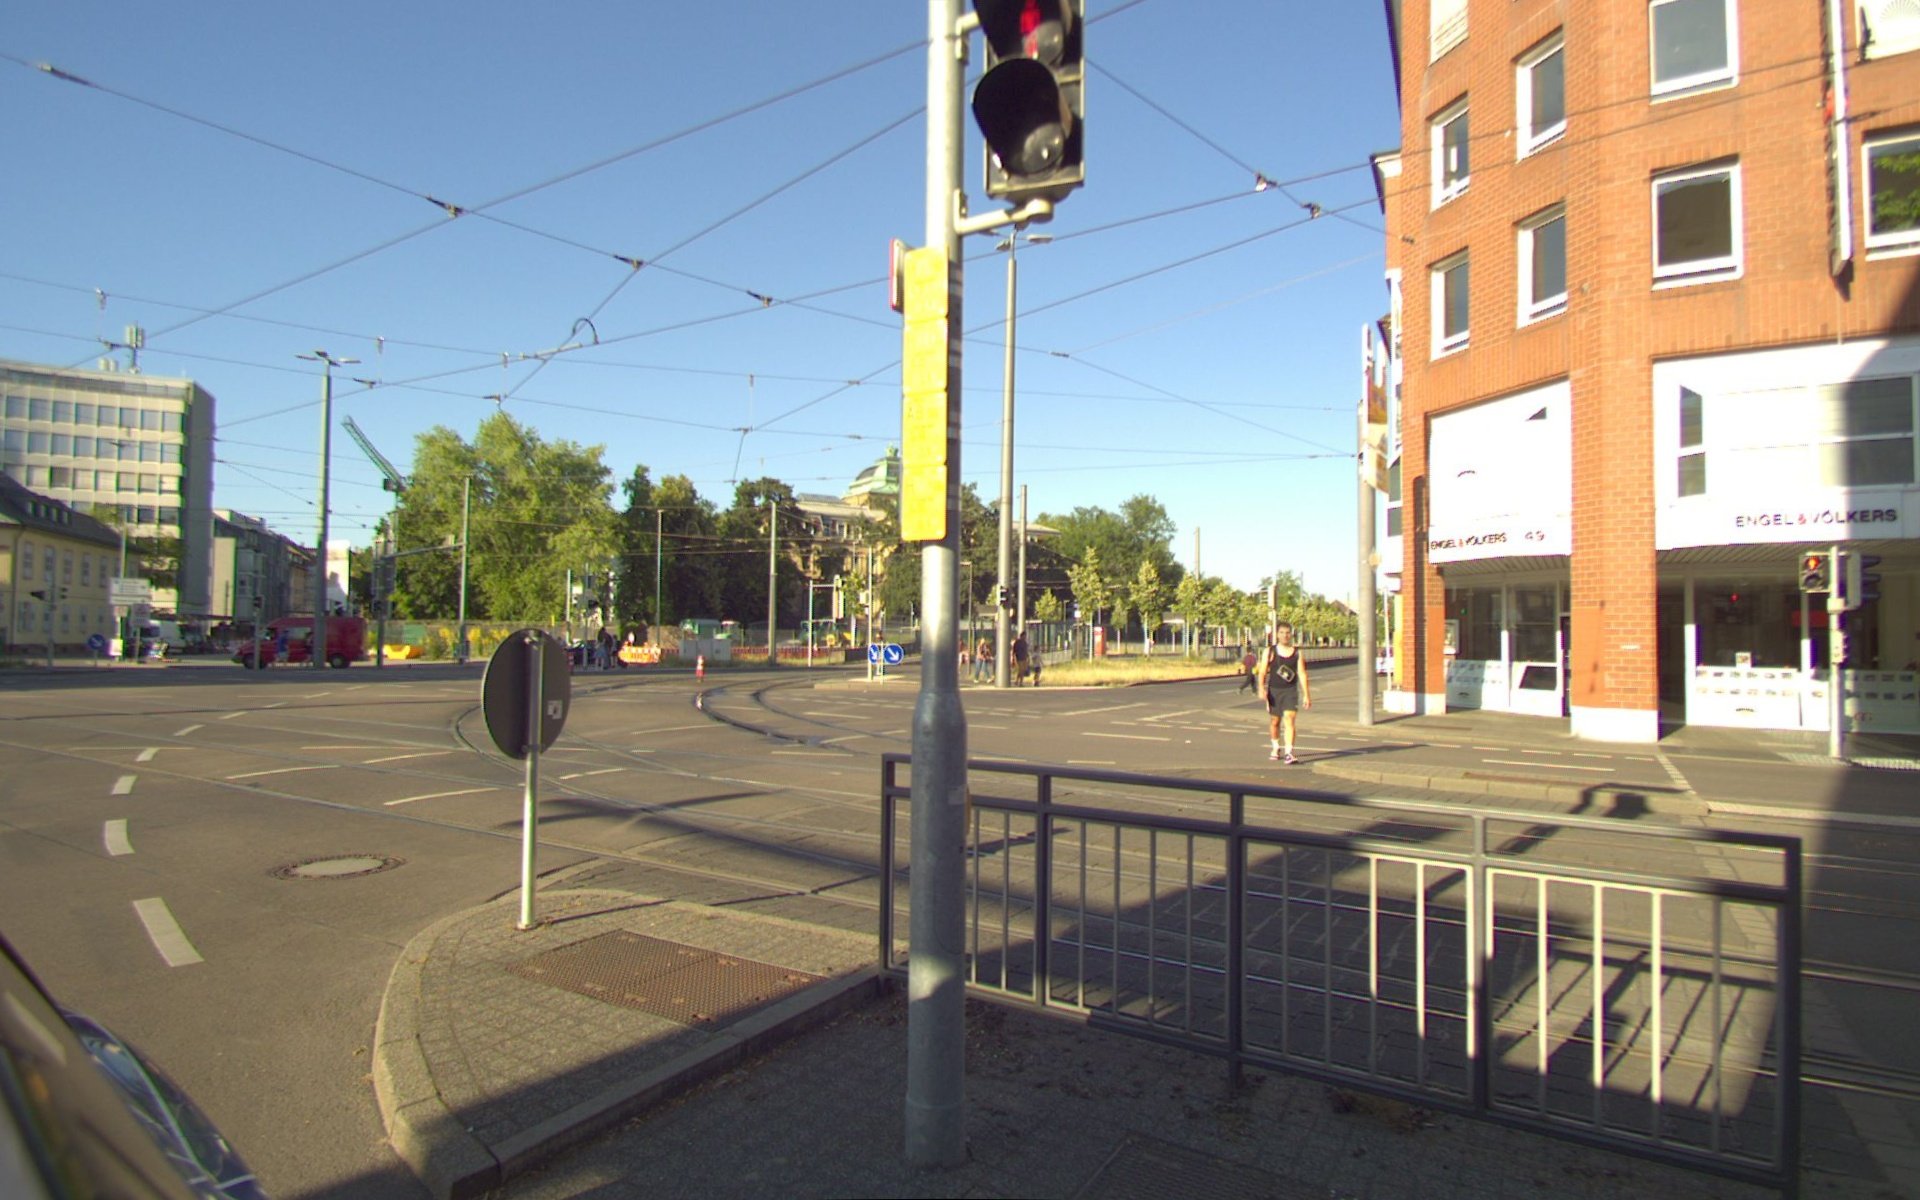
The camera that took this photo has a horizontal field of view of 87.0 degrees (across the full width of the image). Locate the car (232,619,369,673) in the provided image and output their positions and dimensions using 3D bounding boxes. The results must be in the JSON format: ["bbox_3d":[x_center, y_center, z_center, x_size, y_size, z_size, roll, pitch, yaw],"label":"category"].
[{"bbox_3d":[-32.328,2.207,49.851,5.328,2.474,2.552,0,-2,-24],"label":"car"}]

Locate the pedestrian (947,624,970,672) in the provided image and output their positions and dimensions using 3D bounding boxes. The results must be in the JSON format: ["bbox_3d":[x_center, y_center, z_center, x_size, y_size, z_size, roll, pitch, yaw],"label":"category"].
[{"bbox_3d":[-0.062,2.061,43.463,0.847,2.029,0.813,-1,0,-8],"label":"pedestrian"}]

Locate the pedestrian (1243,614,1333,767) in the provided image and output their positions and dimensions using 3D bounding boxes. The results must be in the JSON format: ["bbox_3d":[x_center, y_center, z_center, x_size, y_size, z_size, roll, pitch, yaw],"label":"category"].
[{"bbox_3d":[4.050,1.097,12.556,0.849,1.817,0.810,-1,0,4],"label":"pedestrian"}]

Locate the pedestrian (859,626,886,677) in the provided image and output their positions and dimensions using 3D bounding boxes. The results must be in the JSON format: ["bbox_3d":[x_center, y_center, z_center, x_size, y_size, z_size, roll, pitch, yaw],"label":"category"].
[{"bbox_3d":[-3.595,2.108,41.679,0.854,2.029,0.806,-1,0,18],"label":"pedestrian"}]

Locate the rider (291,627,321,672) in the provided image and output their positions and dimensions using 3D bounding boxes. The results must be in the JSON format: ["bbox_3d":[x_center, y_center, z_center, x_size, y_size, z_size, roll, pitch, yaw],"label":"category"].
[{"bbox_3d":[-30.112,2.269,46.581,0.996,2.029,0.992,-1,0,-24],"label":"rider"}]

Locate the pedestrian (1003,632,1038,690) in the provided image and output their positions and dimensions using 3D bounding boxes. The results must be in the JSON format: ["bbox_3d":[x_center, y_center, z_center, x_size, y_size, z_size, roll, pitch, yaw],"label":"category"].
[{"bbox_3d":[1.932,1.926,32.366,0.846,1.780,0.814,-1,0,-21],"label":"pedestrian"}]

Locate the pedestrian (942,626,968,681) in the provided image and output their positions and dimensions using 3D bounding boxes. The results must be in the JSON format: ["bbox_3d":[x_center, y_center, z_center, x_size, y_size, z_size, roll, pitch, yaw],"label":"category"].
[{"bbox_3d":[-0.199,2.043,38.875,0.847,2.029,0.813,-1,0,-8],"label":"pedestrian"}]

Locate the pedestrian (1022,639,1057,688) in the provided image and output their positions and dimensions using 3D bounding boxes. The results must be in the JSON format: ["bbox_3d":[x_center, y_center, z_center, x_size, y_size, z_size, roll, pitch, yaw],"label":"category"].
[{"bbox_3d":[2.594,2.060,33.154,0.846,1.522,0.814,-1,0,-21],"label":"pedestrian"}]

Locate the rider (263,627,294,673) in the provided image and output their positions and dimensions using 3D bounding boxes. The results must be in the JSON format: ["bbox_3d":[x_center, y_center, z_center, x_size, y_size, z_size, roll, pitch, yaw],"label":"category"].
[{"bbox_3d":[-31.064,2.282,46.113,0.996,2.029,1.023,-1,0,-24],"label":"rider"}]

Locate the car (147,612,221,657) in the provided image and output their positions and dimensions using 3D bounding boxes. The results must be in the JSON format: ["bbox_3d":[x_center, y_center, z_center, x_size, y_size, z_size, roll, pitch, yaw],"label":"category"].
[{"bbox_3d":[-57.209,2.559,74.750,2.499,3.071,6.395,3,-3,-21],"label":"car"}]

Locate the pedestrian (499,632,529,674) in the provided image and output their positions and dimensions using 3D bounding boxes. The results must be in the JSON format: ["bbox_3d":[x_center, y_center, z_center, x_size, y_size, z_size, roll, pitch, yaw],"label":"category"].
[{"bbox_3d":[-22.567,2.667,51.196,0.987,2.029,1.061,-1,0,36],"label":"pedestrian"}]

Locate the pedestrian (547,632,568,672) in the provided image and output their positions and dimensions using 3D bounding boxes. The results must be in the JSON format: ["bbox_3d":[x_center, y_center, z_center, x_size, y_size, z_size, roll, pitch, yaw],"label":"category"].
[{"bbox_3d":[-21.119,2.714,53.076,0.996,2.029,0.992,-1,0,-24],"label":"pedestrian"}]

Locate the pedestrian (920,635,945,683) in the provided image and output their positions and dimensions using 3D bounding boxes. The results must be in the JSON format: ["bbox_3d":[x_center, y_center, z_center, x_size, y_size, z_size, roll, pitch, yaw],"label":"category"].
[{"bbox_3d":[-1.072,2.257,38.815,0.847,1.784,0.710,-1,0,-8],"label":"pedestrian"}]

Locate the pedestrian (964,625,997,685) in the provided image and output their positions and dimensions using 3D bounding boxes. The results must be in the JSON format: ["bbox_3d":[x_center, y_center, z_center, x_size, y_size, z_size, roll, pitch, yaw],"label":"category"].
[{"bbox_3d":[0.705,1.880,34.946,0.846,2.029,0.814,-1,0,-21],"label":"pedestrian"}]
